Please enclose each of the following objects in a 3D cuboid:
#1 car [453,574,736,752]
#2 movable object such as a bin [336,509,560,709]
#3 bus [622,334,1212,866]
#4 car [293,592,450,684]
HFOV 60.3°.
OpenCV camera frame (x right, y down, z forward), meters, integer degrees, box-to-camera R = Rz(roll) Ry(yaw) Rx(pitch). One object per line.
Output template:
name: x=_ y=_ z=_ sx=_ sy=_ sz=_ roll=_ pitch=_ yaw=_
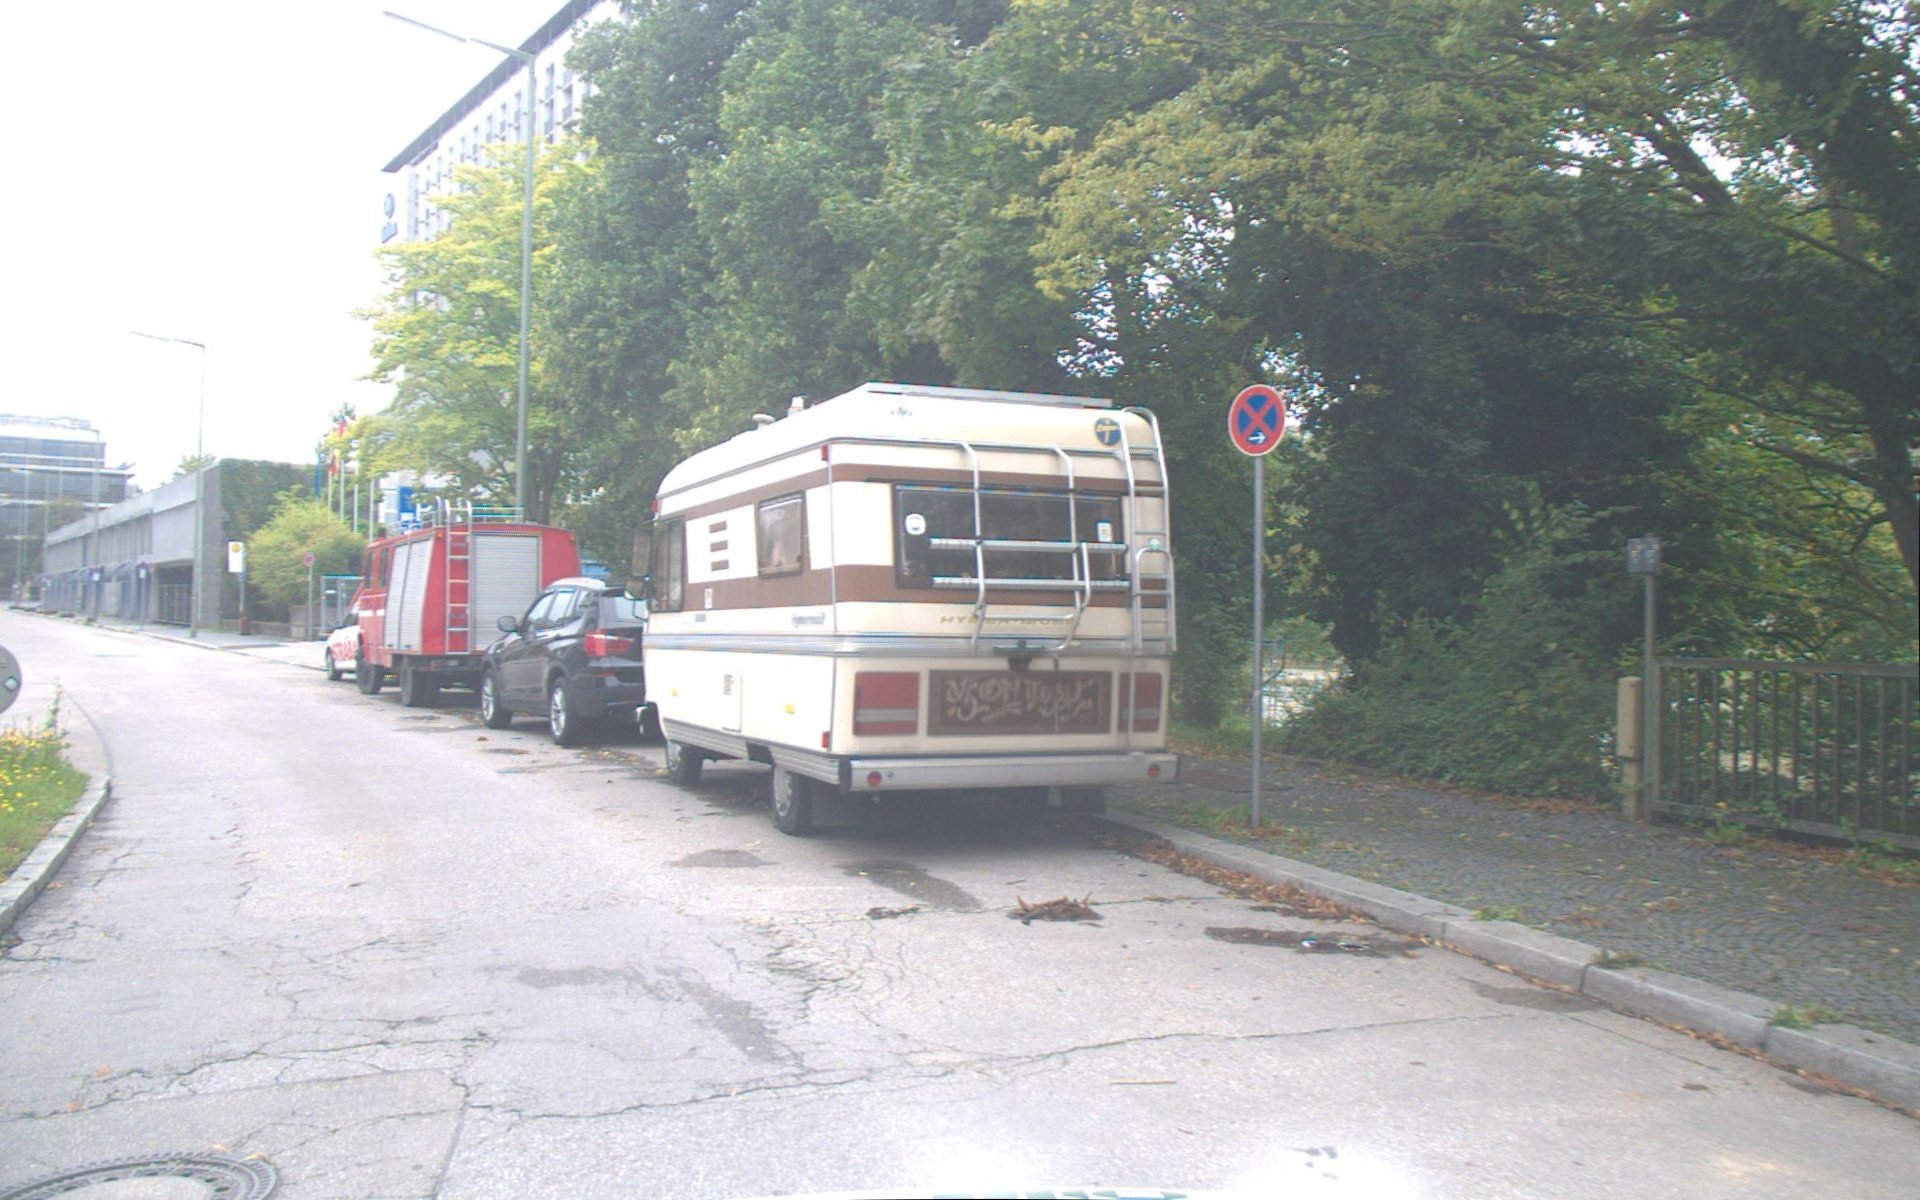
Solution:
car: x=-4.096 y=0.596 z=17.956 sx=1.757 sy=1.678 sz=4.415 roll=1 pitch=0 yaw=-30
movable object such as a bin: x=-7.559 y=0.119 z=23.938 sx=2.079 sy=2.501 sz=6.132 roll=1 pitch=0 yaw=-27
bus: x=-0.692 y=0.009 z=11.644 sx=2.283 sy=2.746 sz=5.695 roll=1 pitch=0 yaw=-22
car: x=-11.037 y=0.661 z=30.853 sx=1.761 sy=1.577 sz=4.206 roll=1 pitch=0 yaw=-34
